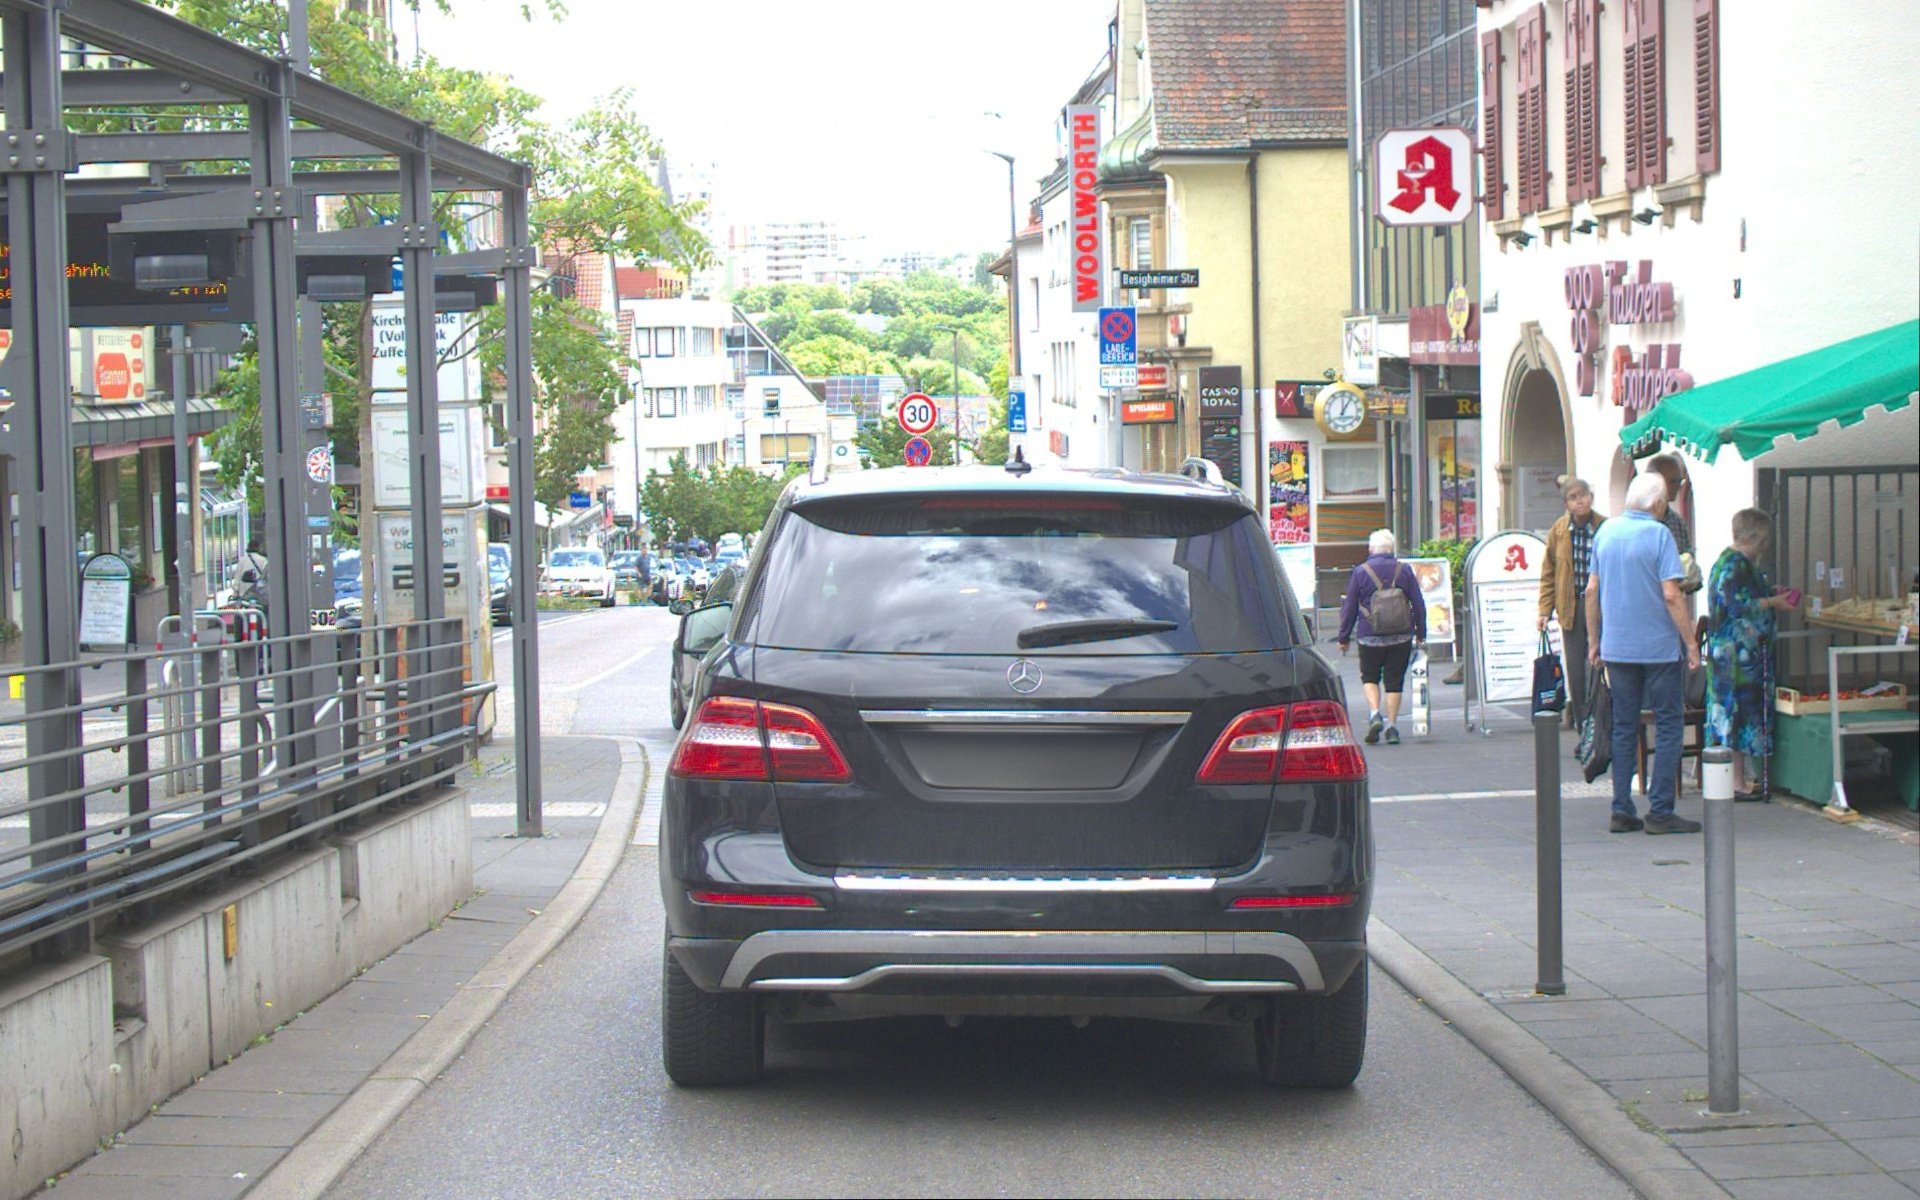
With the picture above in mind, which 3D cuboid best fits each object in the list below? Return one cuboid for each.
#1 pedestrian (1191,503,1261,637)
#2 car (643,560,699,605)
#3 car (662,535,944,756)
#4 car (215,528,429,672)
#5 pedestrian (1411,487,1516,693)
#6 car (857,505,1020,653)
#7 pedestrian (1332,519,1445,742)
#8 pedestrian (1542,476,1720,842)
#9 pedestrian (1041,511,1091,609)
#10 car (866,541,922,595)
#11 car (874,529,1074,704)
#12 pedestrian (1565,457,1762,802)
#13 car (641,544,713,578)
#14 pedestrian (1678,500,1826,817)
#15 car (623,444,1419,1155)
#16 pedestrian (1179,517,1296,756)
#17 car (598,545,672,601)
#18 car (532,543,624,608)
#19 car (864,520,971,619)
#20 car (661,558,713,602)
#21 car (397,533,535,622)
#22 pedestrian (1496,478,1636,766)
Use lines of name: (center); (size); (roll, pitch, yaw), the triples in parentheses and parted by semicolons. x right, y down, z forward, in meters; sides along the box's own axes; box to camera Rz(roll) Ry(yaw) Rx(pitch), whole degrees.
pedestrian: (3.472, -0.397, 44.877); (0.864, 1.701, 0.945); (-1, 1, 5)
car: (-10.273, -0.632, 122.484); (1.926, 1.491, 4.263); (1, 1, -4)
car: (-1.281, 0.288, 26.493); (1.785, 1.535, 3.745); (-2, 1, -8)
car: (-8.082, -0.052, 43.937); (2.006, 1.688, 4.608); (0, 2, -2)
pedestrian: (4.412, -0.096, 30.187); (0.774, 1.763, 0.817); (-1, 1, 0)
car: (-0.226, -0.311, 44.704); (1.877, 1.793, 4.732); (-1, 1, 2)
pedestrian: (2.996, 0.202, 24.089); (0.724, 1.526, 0.808); (-1, 1, 5)
pedestrian: (3.311, 0.278, 16.940); (0.701, 1.760, 0.625); (-1, 1, 25)
pedestrian: (1.905, -0.726, 62.039); (0.796, 1.721, 1.053); (-2, 1, -1)
car: (-2.500, -1.215, 128.645); (1.938, 1.885, 4.707); (-3, 1, -2)
car: (0.106, 0.112, 33.602); (1.803, 1.550, 3.954); (-2, 1, -1)
pedestrian: (3.874, 0.148, 18.939); (0.780, 1.851, 0.701); (-1, 1, 42)
car: (-16.253, -2.245, 197.534); (3.986, 1.744, 2.000); (-3, 0, -5)
pedestrian: (4.122, 0.292, 17.934); (0.623, 1.607, 0.702); (-1, 1, 4)
car: (0.124, 0.452, 10.586); (1.943, 1.734, 4.179); (1, 1, -1)
pedestrian: (1.950, 0.243, 24.169); (0.772, 1.639, 0.870); (-1, 1, 5)
car: (-9.537, -0.782, 101.177); (1.926, 1.616, 4.640); (0, 0, -2)
car: (-9.300, -0.621, 83.913); (1.926, 1.506, 4.262); (1, 1, -2)
car: (-0.746, -0.553, 60.610); (1.748, 1.602, 3.800); (-3, 1, 0)
car: (-10.305, -0.768, 129.873); (1.926, 1.590, 4.459); (1, 1, -4)
car: (-8.743, -0.431, 61.201); (1.926, 1.487, 4.843); (1, 1, -2)
pedestrian: (3.852, 0.132, 21.887); (0.786, 1.795, 0.676); (-1, 1, 5)
